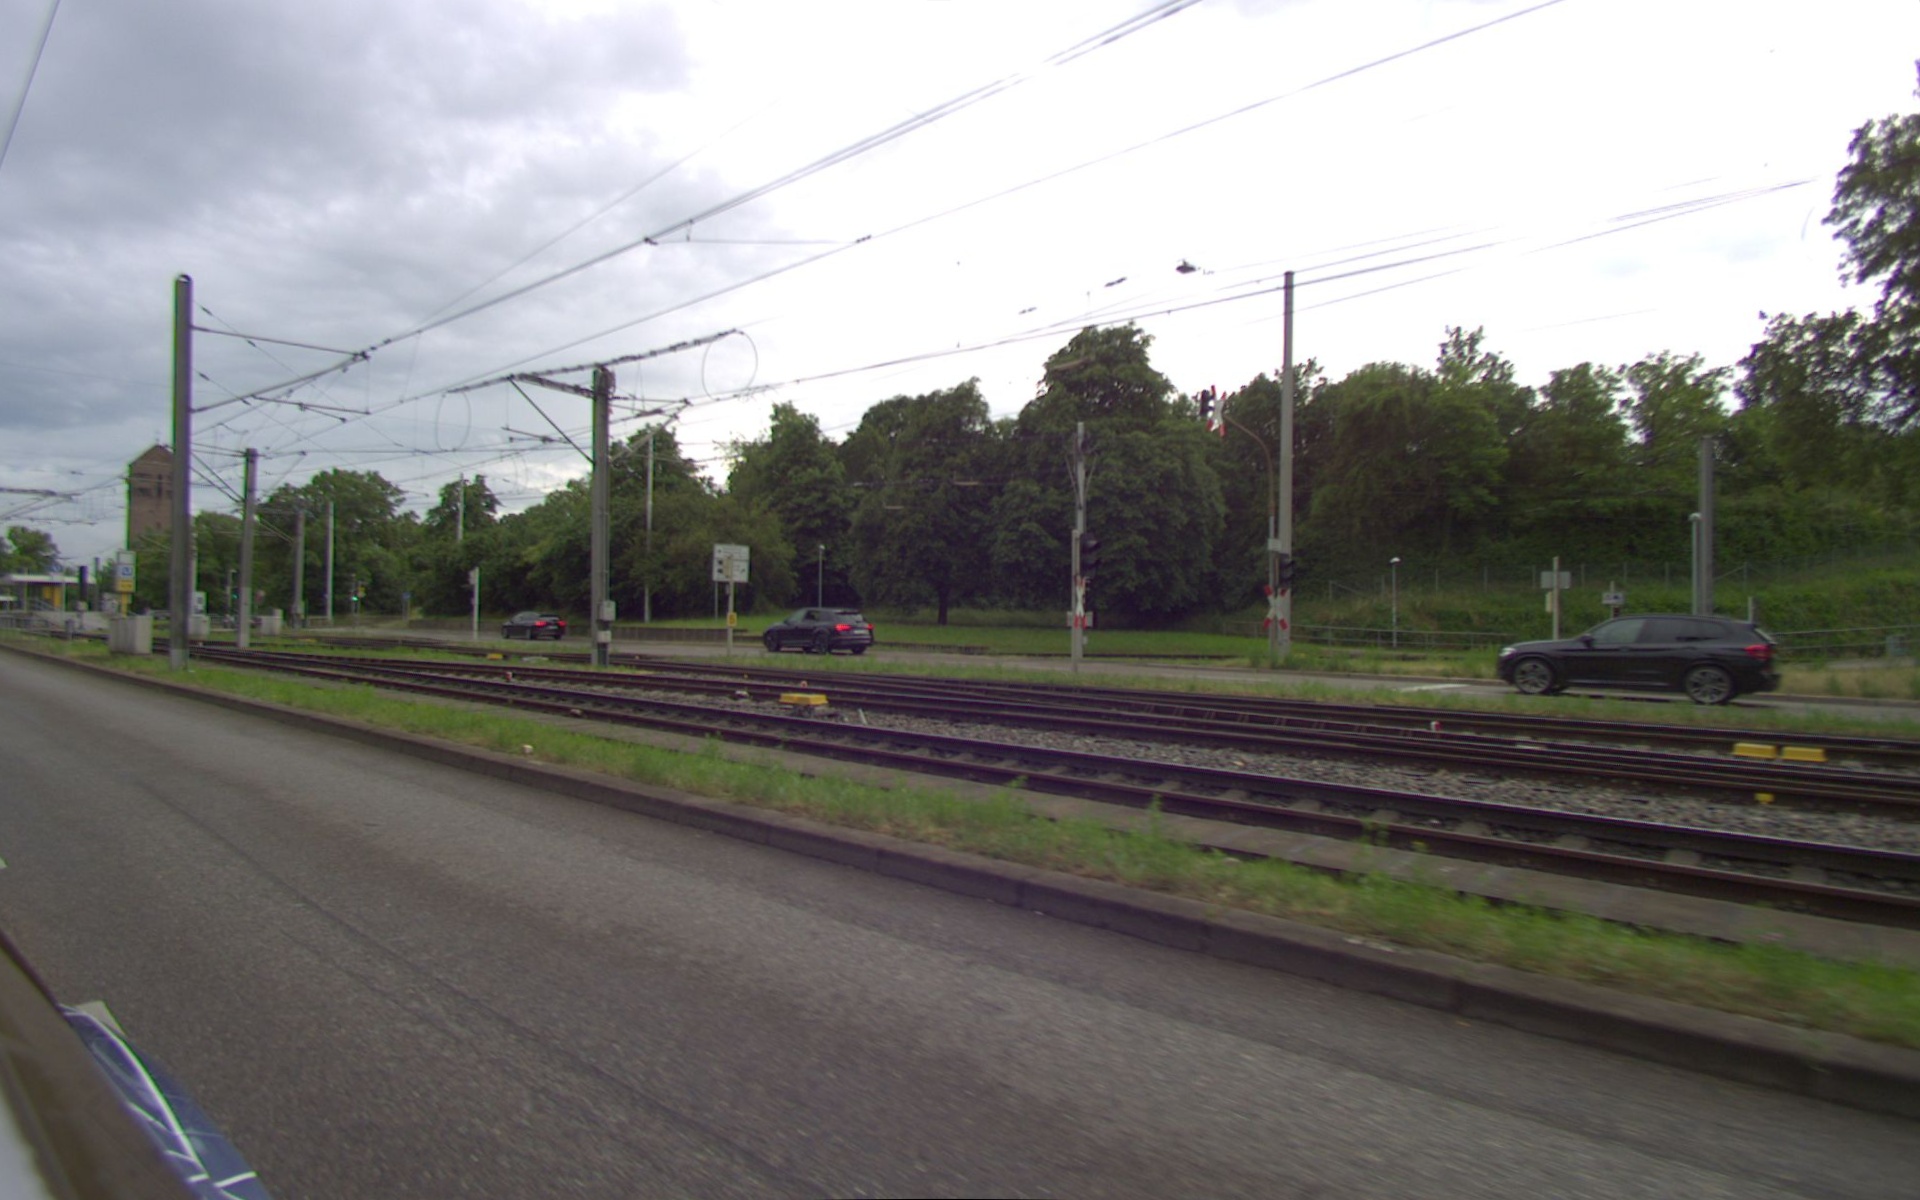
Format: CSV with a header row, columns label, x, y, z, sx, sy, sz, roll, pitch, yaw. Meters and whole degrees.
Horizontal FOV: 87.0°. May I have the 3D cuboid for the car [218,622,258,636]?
label,x,y,z,sx,sy,sz,roll,pitch,yaw
car,-64.601,2.598,90.526,4.471,1.271,1.907,-1,-2,41

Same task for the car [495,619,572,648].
label,x,y,z,sx,sy,sz,roll,pitch,yaw
car,-22.481,1.762,53.278,4.680,1.458,1.906,-1,-2,42

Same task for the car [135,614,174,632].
label,x,y,z,sx,sy,sz,roll,pitch,yaw
car,-79.261,2.298,99.572,4.859,1.752,2.062,-1,-2,41

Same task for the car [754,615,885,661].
label,x,y,z,sx,sy,sz,roll,pitch,yaw
car,-5.286,1.376,37.714,5.158,1.601,2.066,-1,-2,43

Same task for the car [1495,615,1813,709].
label,x,y,z,sx,sy,sz,roll,pitch,yaw
car,13.283,1.111,19.580,4.847,1.607,1.926,-1,-2,43
